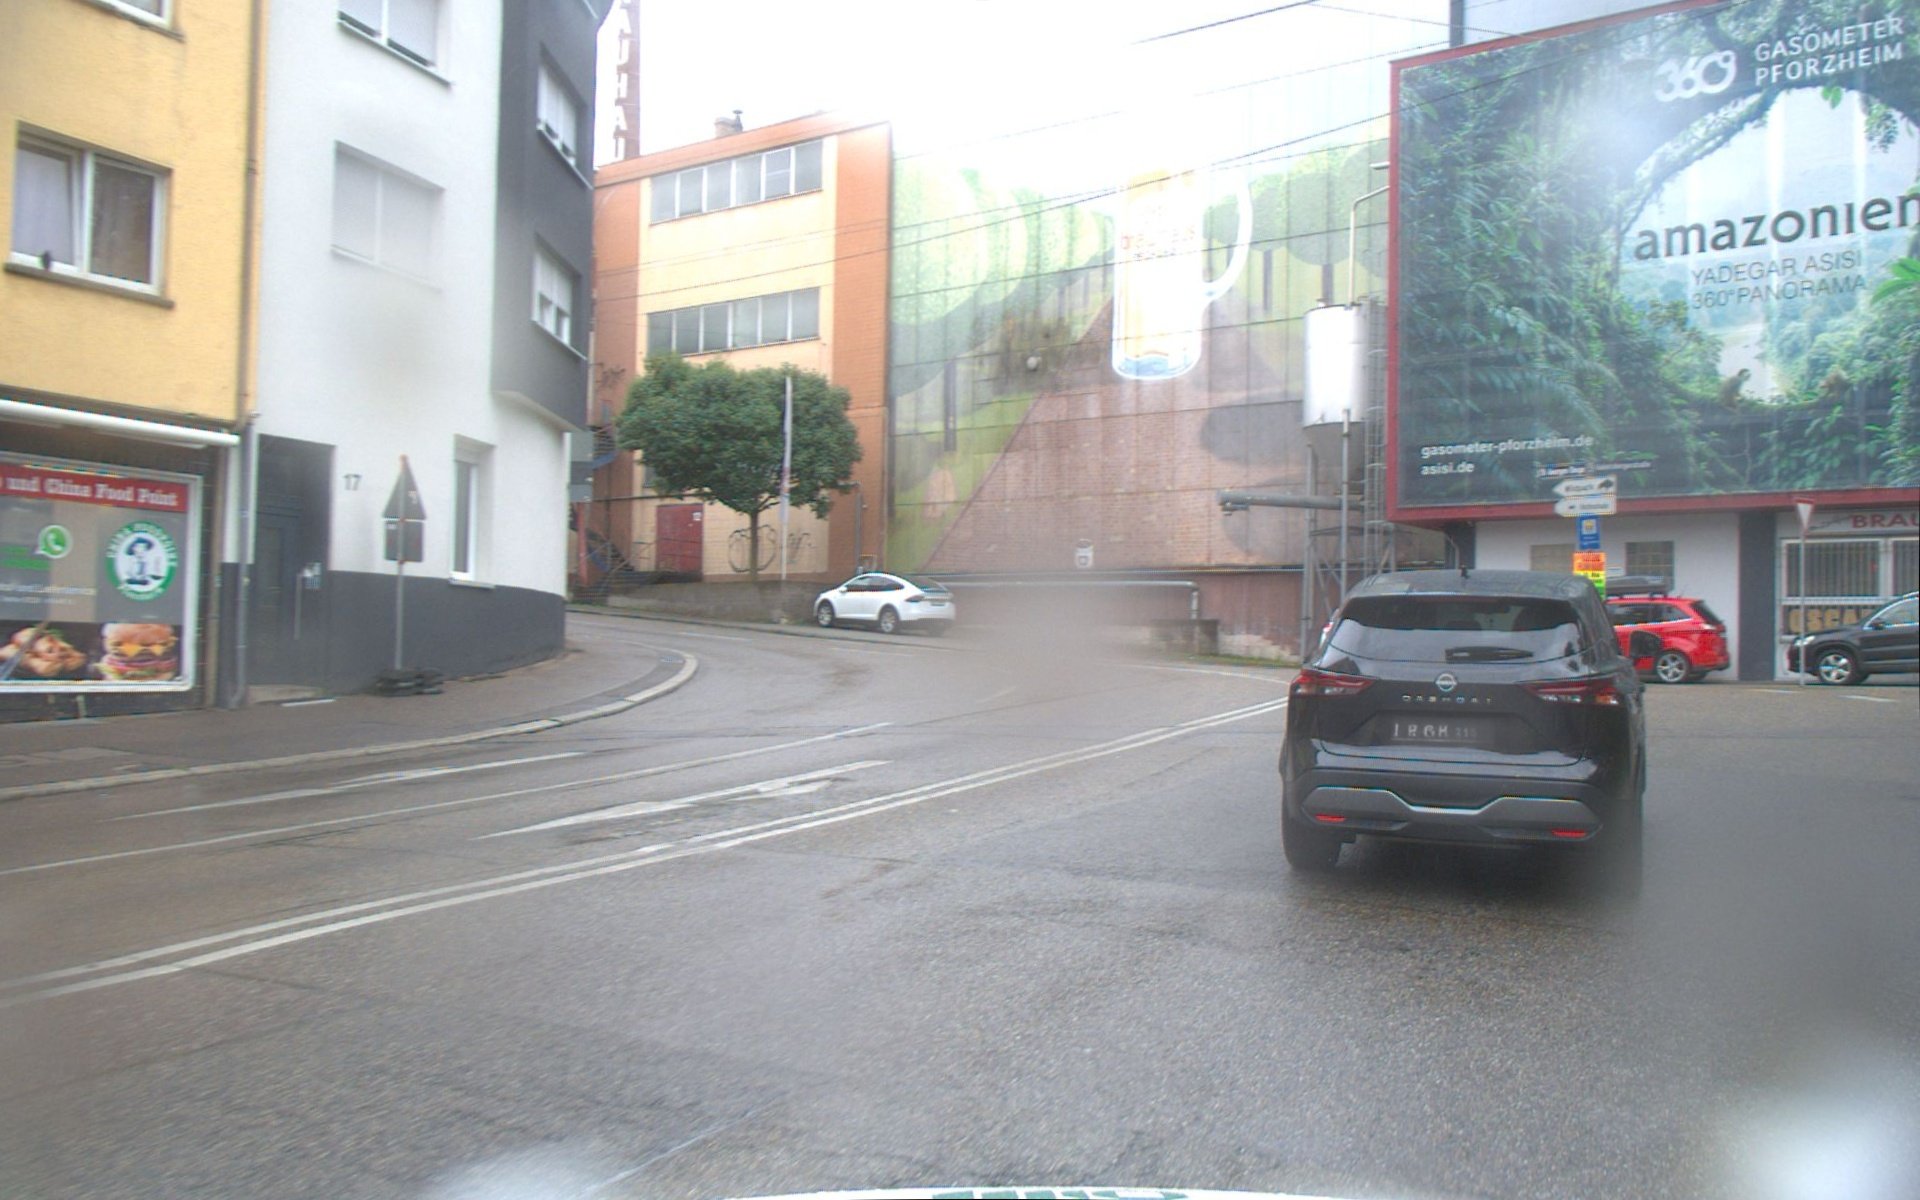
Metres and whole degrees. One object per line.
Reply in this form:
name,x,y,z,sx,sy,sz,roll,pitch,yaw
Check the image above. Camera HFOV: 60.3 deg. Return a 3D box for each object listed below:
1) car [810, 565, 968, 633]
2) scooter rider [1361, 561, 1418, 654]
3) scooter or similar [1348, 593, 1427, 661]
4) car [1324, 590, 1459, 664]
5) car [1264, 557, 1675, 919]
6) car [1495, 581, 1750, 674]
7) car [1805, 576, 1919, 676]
car,-2.106,-0.056,47.967,1.844,1.645,4.840,2,1,-43
scooter rider,8.710,0.142,33.569,0.794,1.853,0.773,0,0,-31
scooter or similar,8.683,0.546,33.613,0.794,1.346,1.394,0,0,-30
car,9.992,0.577,38.124,1.836,1.559,3.980,0,1,34
car,3.093,0.588,9.588,1.843,1.621,3.920,1,1,22
car,13.255,0.525,33.200,4.405,1.741,1.924,0,-1,38
car,17.441,0.447,29.506,3.922,1.741,1.924,-2,-1,38
